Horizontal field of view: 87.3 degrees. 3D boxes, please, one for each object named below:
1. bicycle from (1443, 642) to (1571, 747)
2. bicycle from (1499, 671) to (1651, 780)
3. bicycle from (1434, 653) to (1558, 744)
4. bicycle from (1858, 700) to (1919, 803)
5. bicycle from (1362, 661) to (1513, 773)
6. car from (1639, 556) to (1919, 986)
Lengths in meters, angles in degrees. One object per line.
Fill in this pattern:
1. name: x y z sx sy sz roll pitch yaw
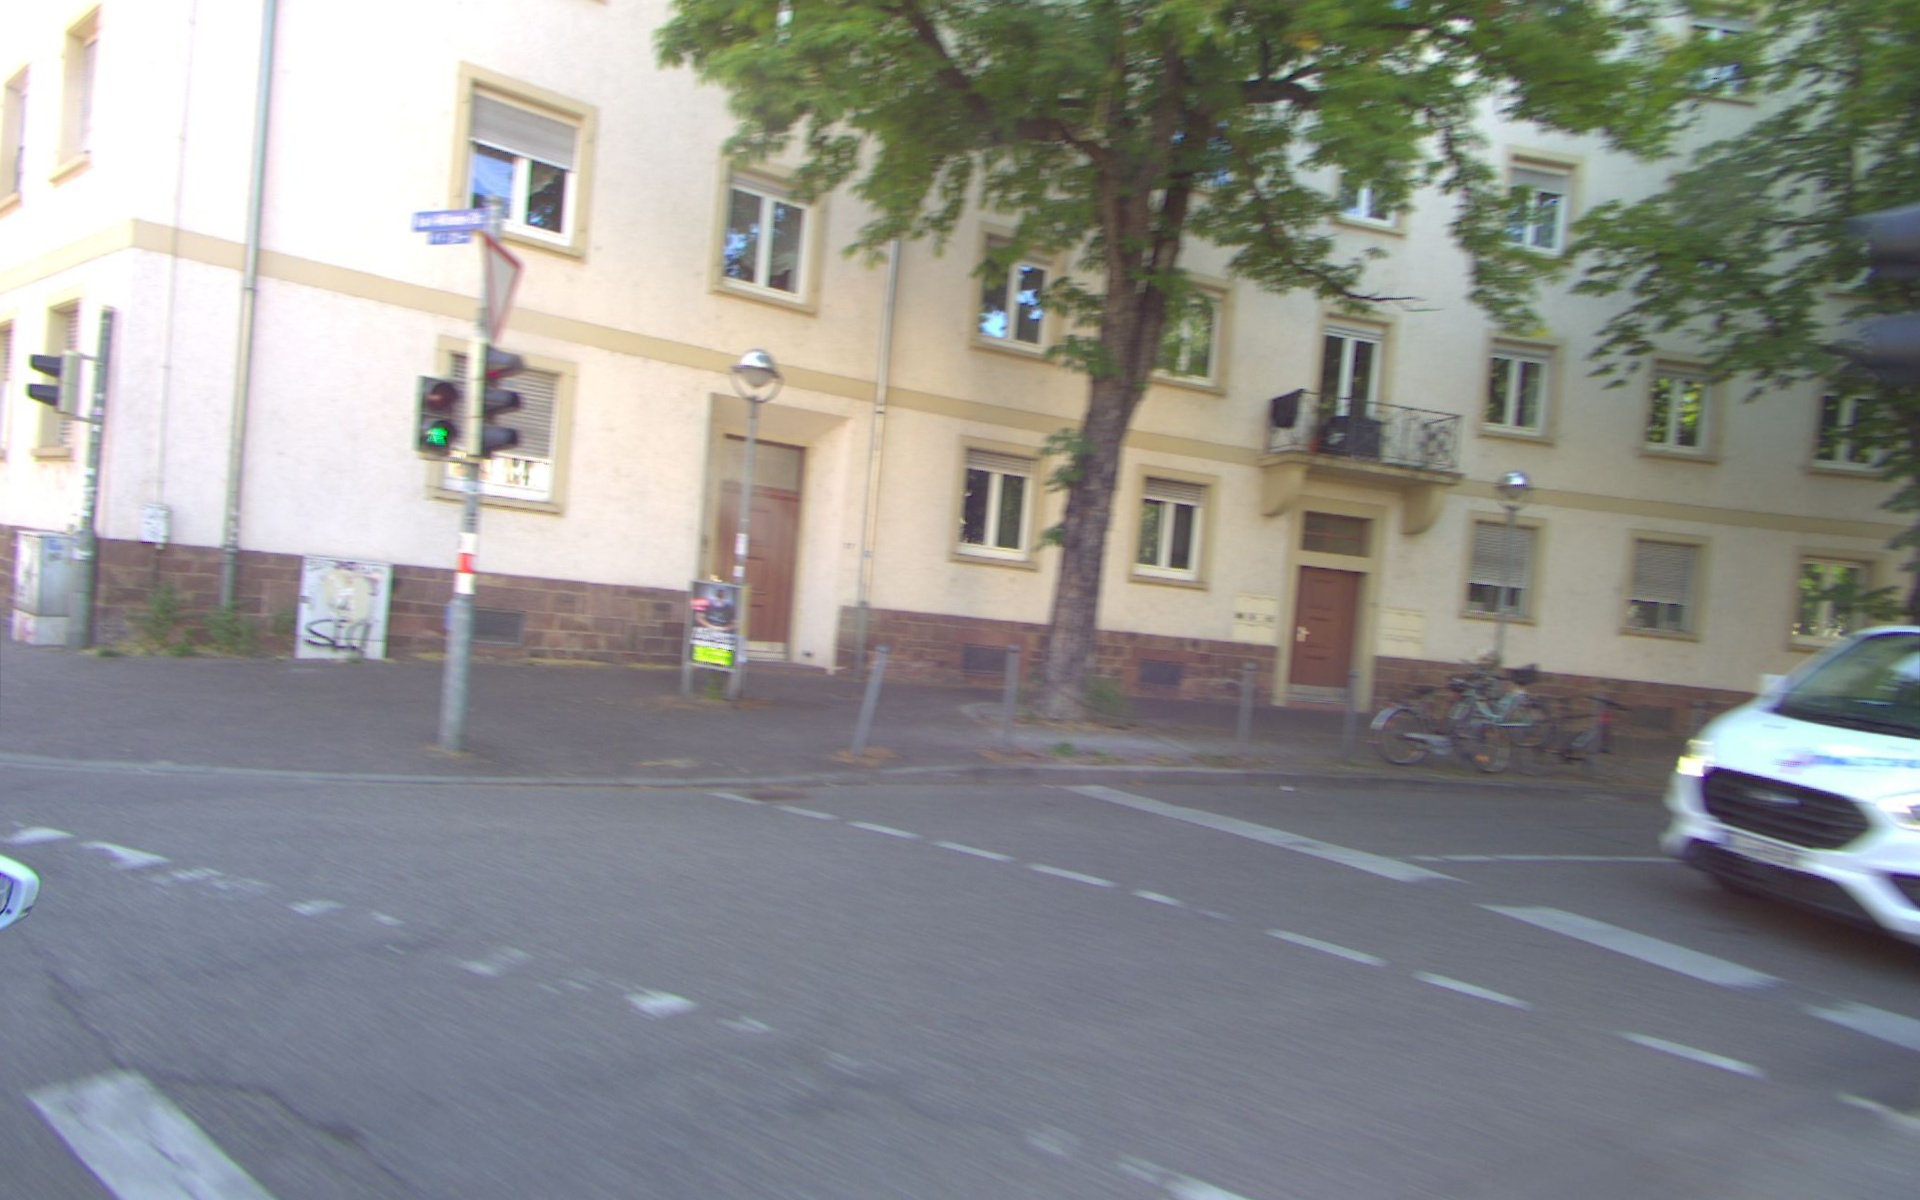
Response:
1. bicycle: 7.646 1.320 14.083 1.462 1.297 0.427 6 3 -6
2. bicycle: 7.222 1.466 11.833 1.462 1.095 0.427 6 3 -6
3. bicycle: 7.771 1.427 14.604 1.494 1.137 0.427 6 3 -6
4. bicycle: 12.539 1.981 12.601 1.955 1.169 0.475 7 5 0
5. bicycle: 5.505 1.347 11.625 1.462 1.095 0.427 6 3 -6
6. car: 6.914 1.094 6.130 4.680 2.117 1.683 7 0 -12
